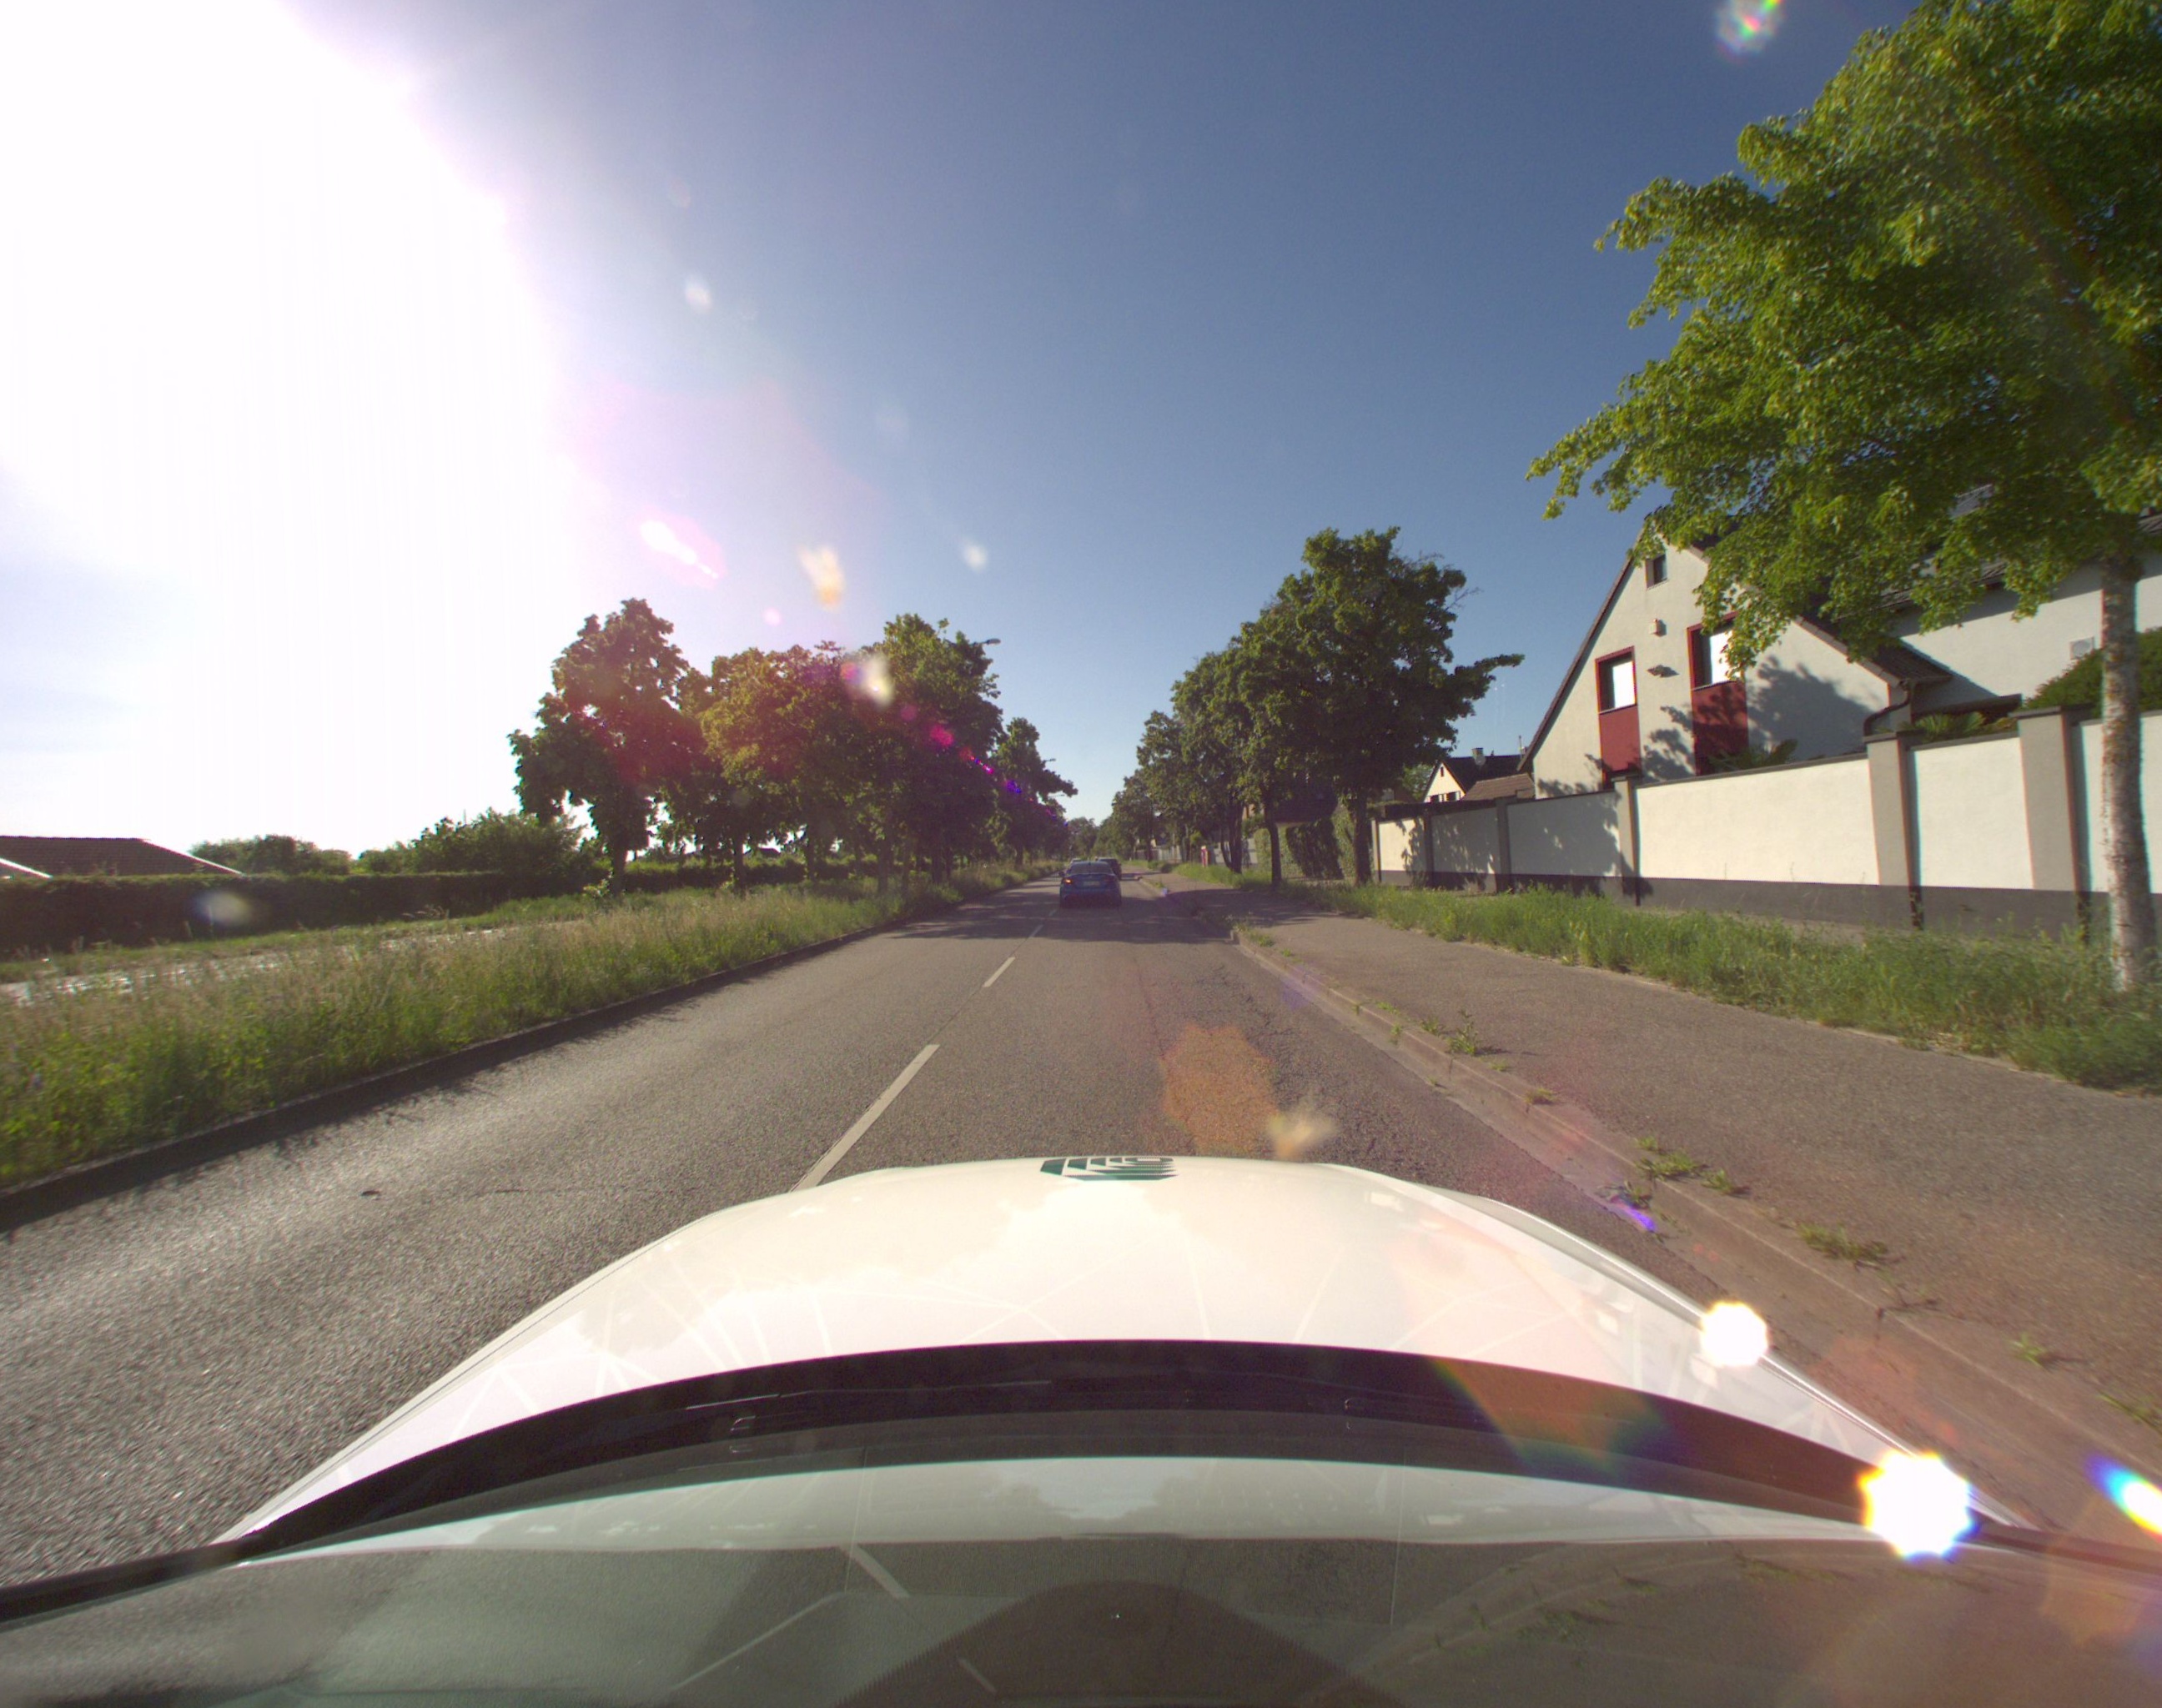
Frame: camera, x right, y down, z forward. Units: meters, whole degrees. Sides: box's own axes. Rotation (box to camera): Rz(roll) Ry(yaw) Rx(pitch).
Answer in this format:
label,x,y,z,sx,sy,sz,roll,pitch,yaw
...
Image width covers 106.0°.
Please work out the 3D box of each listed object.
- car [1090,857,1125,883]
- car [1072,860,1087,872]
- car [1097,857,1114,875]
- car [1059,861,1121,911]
label,x,y,z,sx,sy,sz,roll,pitch,yaw
car,1.685,1.046,53.398,1.911,1.579,4.178,-2,-1,-3
car,-0.226,1.618,112.127,1.909,1.512,4.066,-2,-1,-1
car,2.888,1.348,94.936,1.786,2.013,4.002,-2,0,2
car,0.364,0.982,26.229,1.831,1.474,4.187,-1,-1,3
